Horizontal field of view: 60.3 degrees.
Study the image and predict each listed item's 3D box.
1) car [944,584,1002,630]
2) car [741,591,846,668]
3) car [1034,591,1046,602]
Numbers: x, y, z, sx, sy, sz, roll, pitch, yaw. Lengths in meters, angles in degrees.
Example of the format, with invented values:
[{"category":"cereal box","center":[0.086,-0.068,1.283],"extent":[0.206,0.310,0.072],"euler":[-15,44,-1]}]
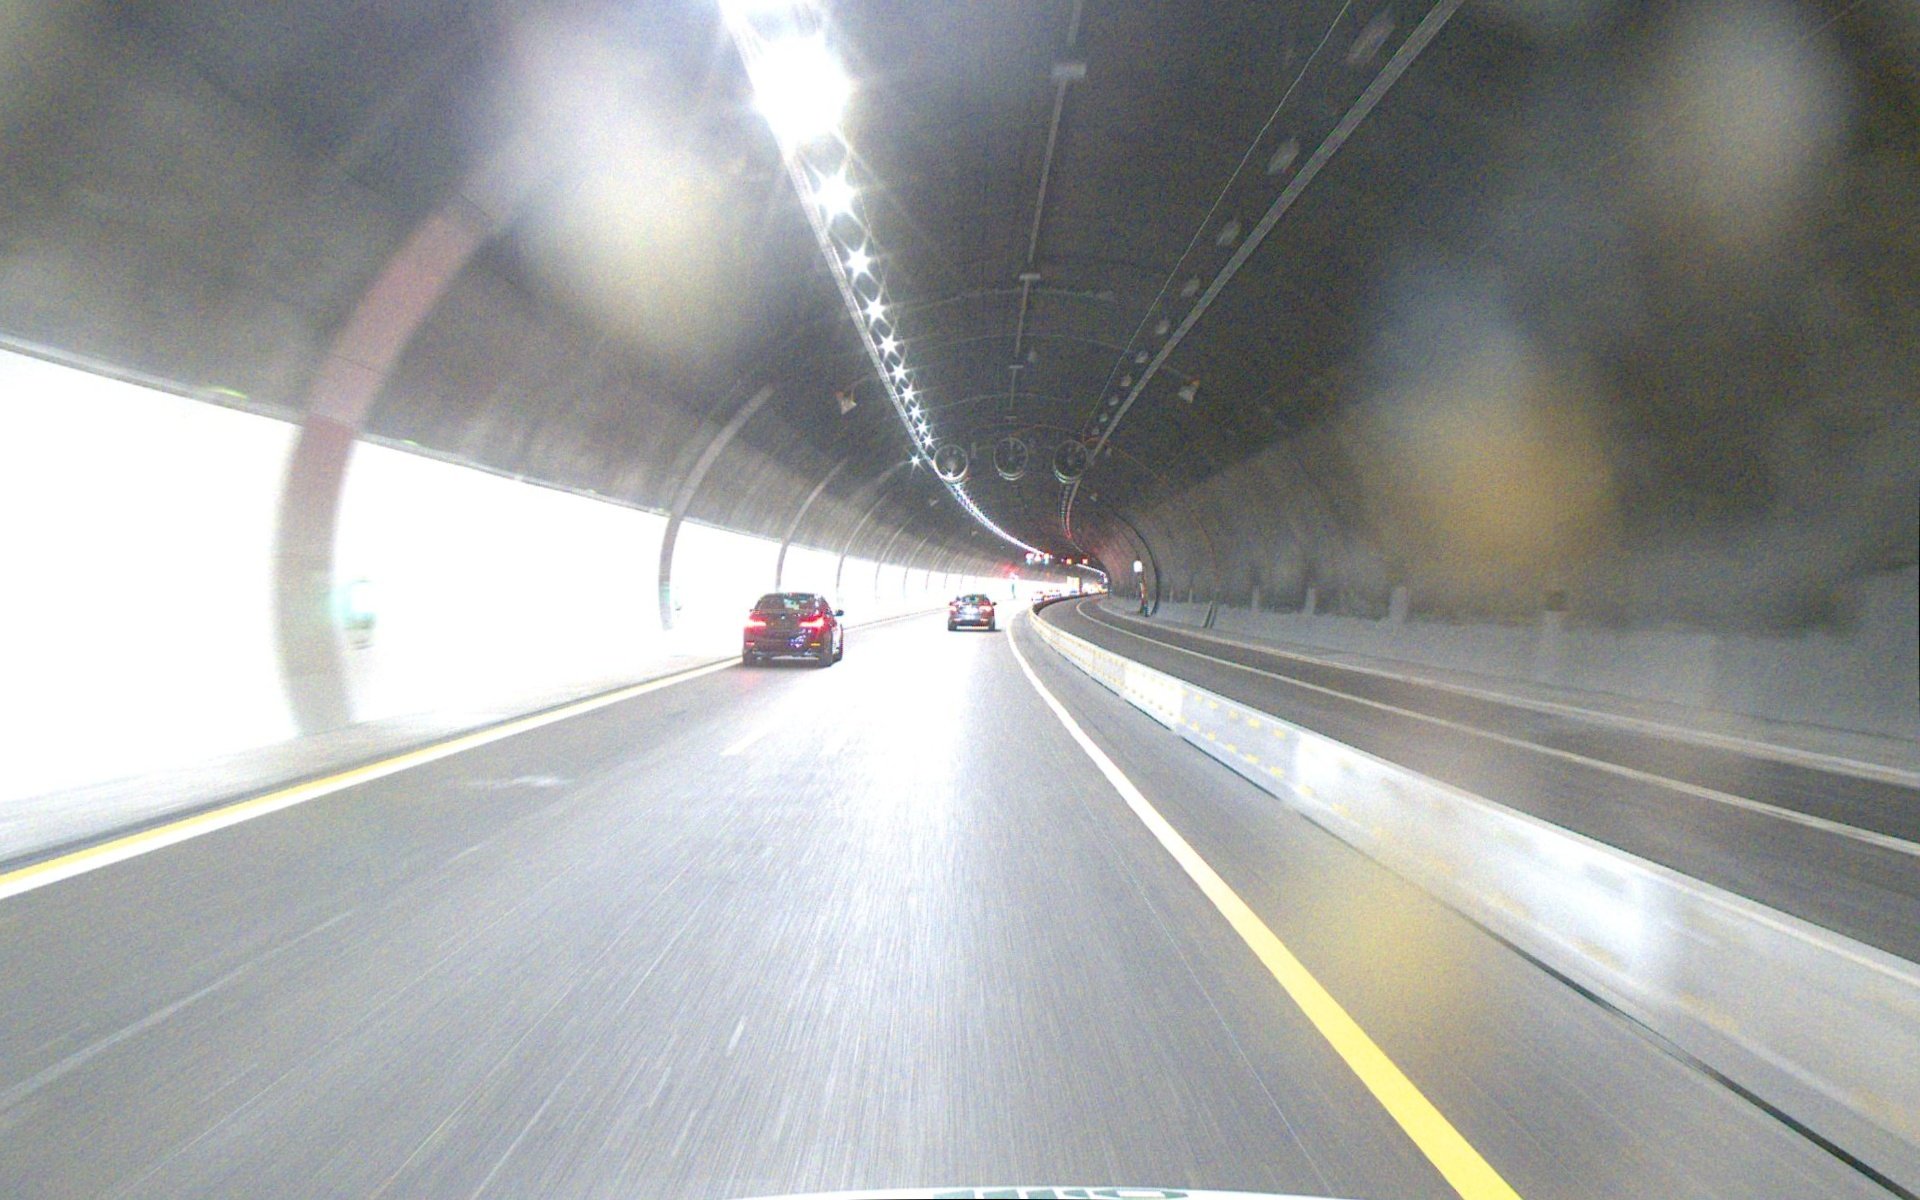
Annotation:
[{"category":"car","center":[0.558,0.248,65.462],"extent":[2.096,1.735,4.002],"euler":[1,0,3]},{"category":"car","center":[-3.409,0.563,34.681],"extent":[1.742,1.463,4.882],"euler":[1,0,-1]},{"category":"car","center":[10.752,-0.480,223.053],"extent":[1.561,1.356,3.752],"euler":[1,0,3]}]
